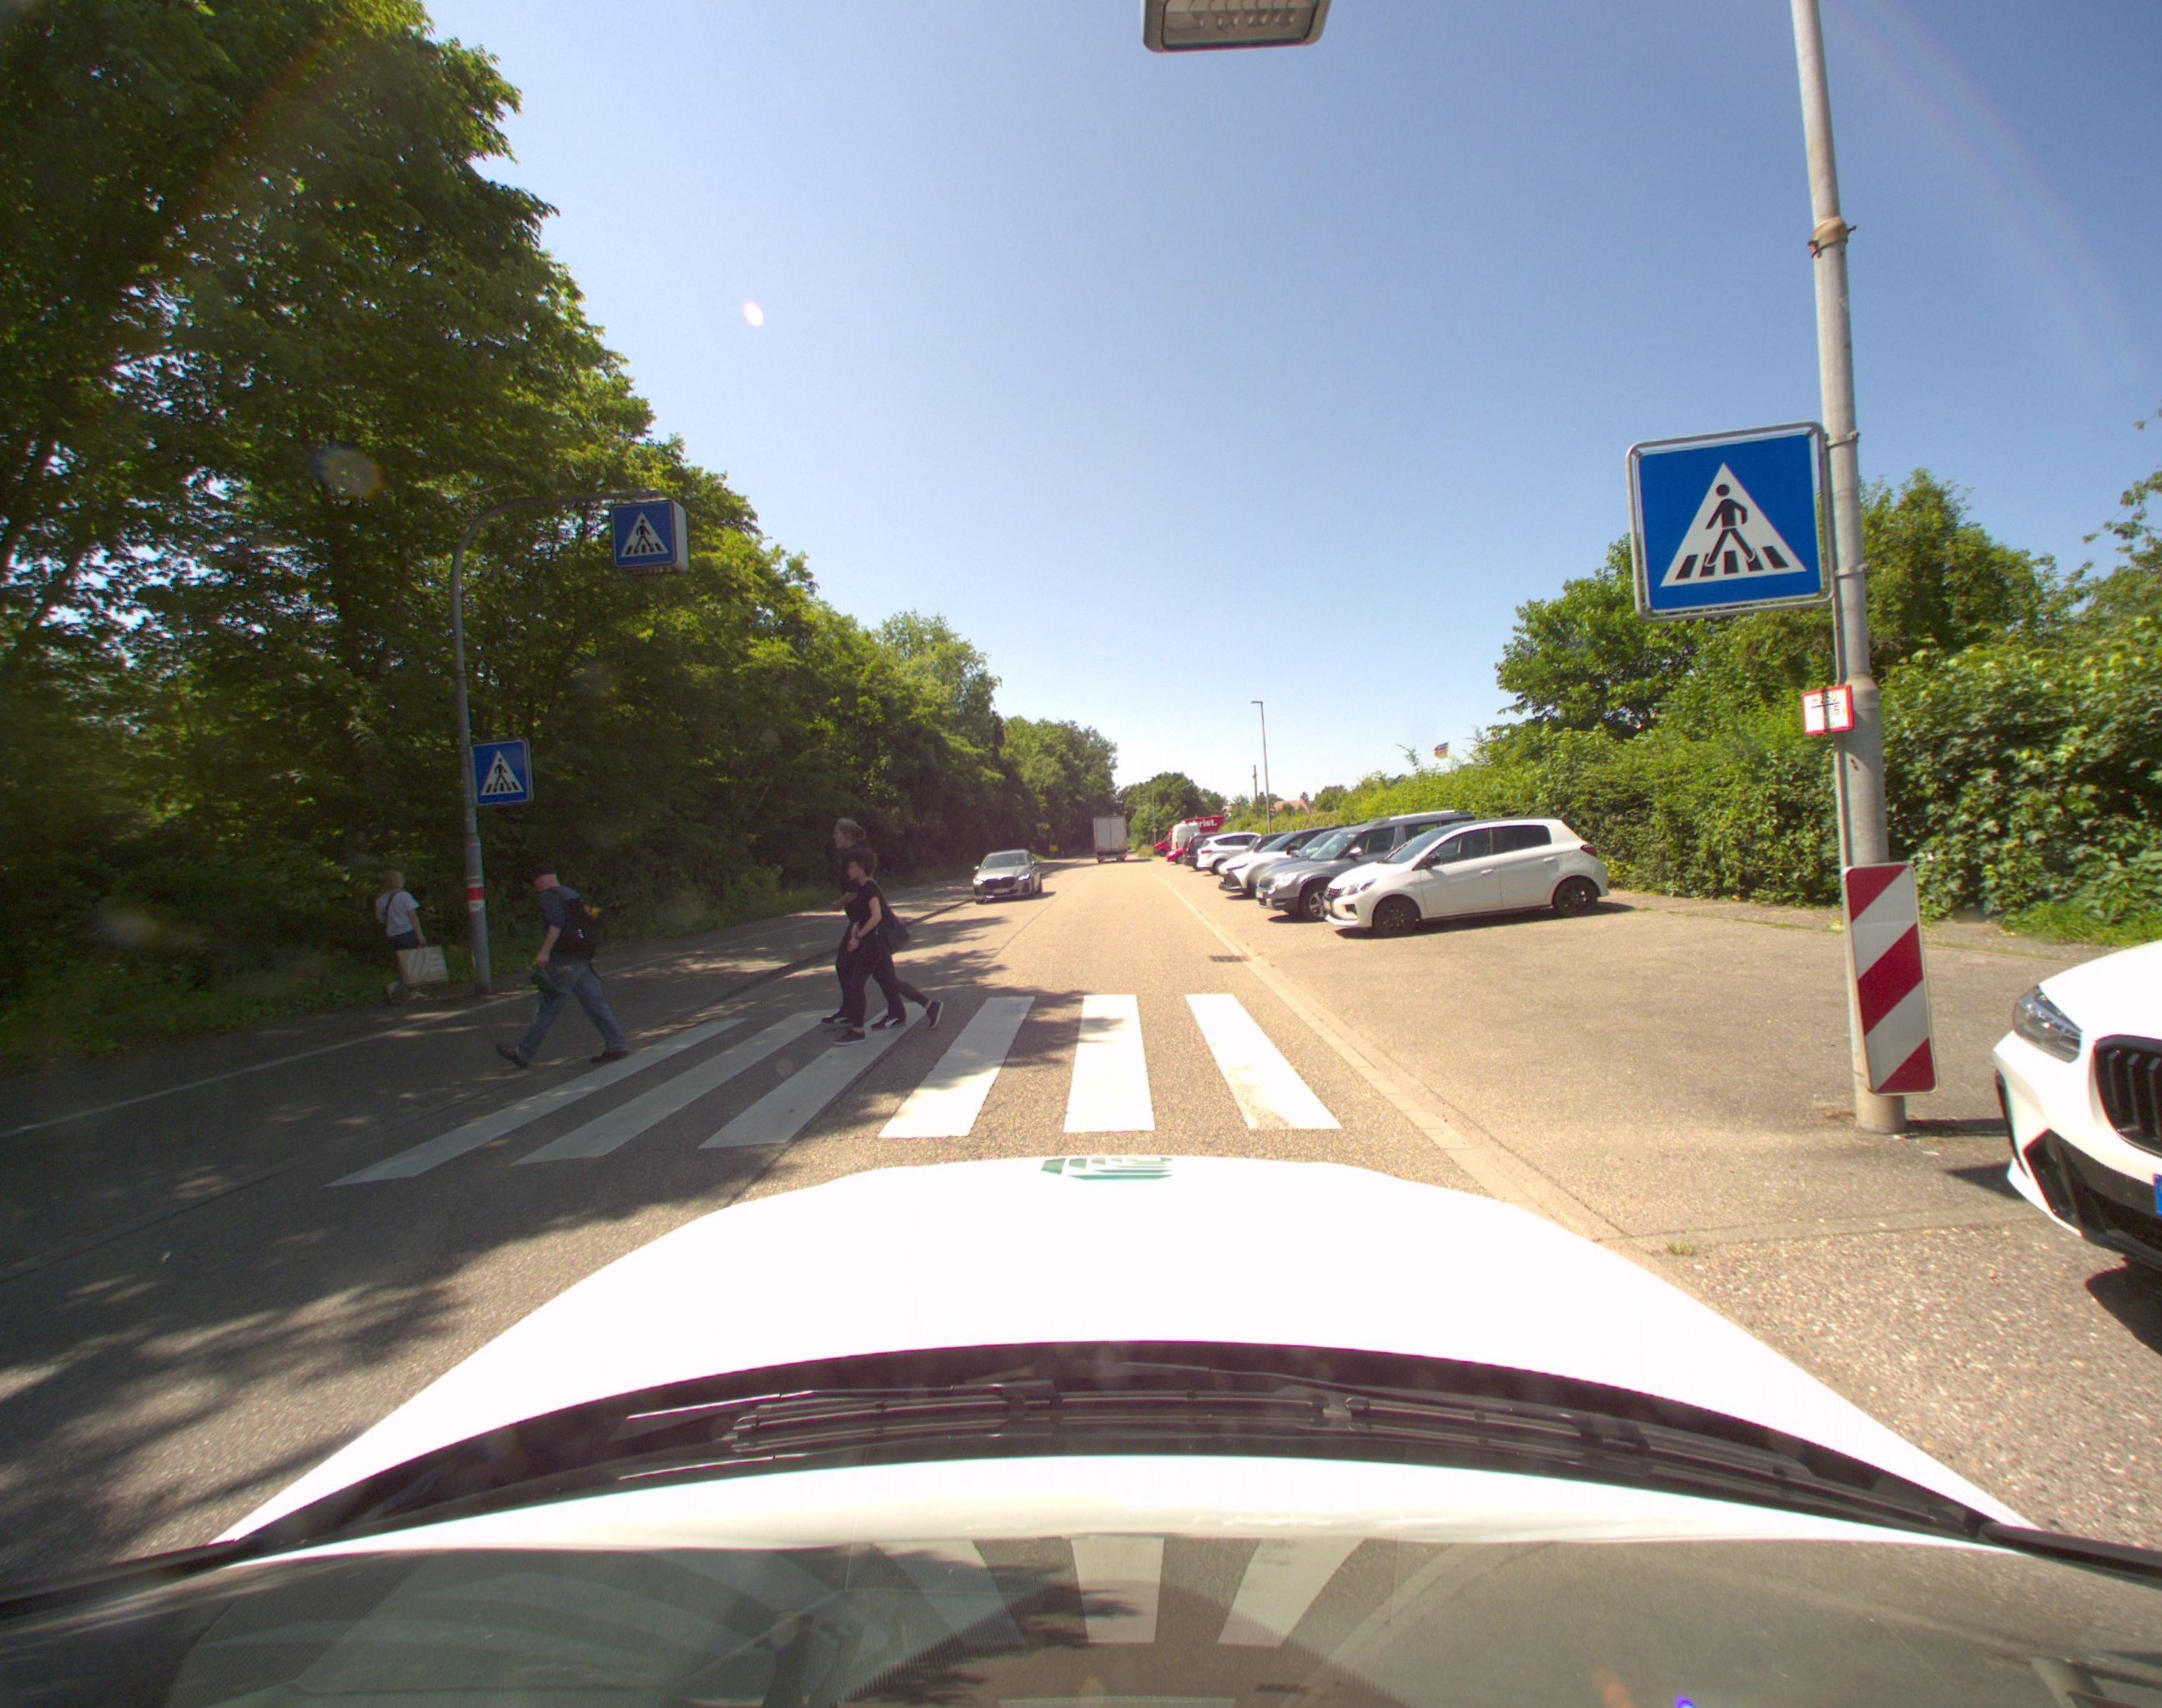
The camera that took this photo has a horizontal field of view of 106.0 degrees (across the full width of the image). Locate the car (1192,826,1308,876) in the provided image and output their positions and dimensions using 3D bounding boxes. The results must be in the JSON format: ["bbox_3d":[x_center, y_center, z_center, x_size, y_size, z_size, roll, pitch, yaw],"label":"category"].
[{"bbox_3d":[6.829,-0.129,33.159,4.262,1.578,1.765,-6,1,0],"label":"car"}]

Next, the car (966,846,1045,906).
[{"bbox_3d":[-2.326,0.633,26.262,1.884,1.532,4.198,-7,0,1],"label":"car"}]

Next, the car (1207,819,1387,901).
[{"bbox_3d":[5.410,0.136,20.741,3.955,1.522,1.862,-7,1,-4],"label":"car"}]

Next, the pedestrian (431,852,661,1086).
[{"bbox_3d":[-4.468,0.903,6.915,1.152,1.751,1.023,-4,0,-2],"label":"pedestrian"}]

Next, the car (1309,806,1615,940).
[{"bbox_3d":[5.462,0.254,12.064,3.671,1.450,1.613,-7,1,6],"label":"car"}]

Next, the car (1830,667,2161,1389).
[{"bbox_3d":[4.744,0.240,1.720,4.436,1.729,1.852,-5,0,2],"label":"car"}]

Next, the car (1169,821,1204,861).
[{"bbox_3d":[8.067,-1.034,62.758,1.946,2.733,7.175,-5,1,4],"label":"car"}]

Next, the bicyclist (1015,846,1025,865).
[{"bbox_3d":[-5.088,0.135,67.765,0.645,1.565,0.838,-3,0,6],"label":"bicyclist"}]

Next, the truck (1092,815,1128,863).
[{"bbox_3d":[2.683,-1.253,72.090,2.722,3.745,13.258,-2,0,3],"label":"truck"}]

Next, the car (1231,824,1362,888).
[{"bbox_3d":[6.207,0.044,23.716,3.371,1.503,1.590,-5,1,5],"label":"car"}]

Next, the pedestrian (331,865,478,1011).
[{"bbox_3d":[-8.096,0.969,9.791,0.929,1.612,0.886,-3,1,1],"label":"pedestrian"}]

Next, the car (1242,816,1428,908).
[{"bbox_3d":[5.498,0.151,17.867,3.445,1.527,1.538,-7,1,-3],"label":"car"}]

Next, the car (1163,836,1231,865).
[{"bbox_3d":[7.395,-0.238,52.236,4.042,1.434,1.835,-6,1,-1],"label":"car"}]

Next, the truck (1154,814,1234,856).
[{"bbox_3d":[10.692,-1.784,76.770,7.087,3.439,2.339,-3,1,13],"label":"truck"}]

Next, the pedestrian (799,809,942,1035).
[{"bbox_3d":[-1.878,0.581,7.409,1.083,1.864,0.781,-4,-1,-11],"label":"pedestrian"}]

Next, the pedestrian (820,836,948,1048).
[{"bbox_3d":[-1.628,0.691,6.848,0.894,1.611,0.778,-4,-1,-11],"label":"pedestrian"}]

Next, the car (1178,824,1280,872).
[{"bbox_3d":[7.086,-0.284,39.369,4.441,1.804,1.951,-6,0,-2],"label":"car"}]

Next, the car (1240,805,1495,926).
[{"bbox_3d":[5.150,0.186,14.944,3.952,1.640,1.662,-7,1,-3],"label":"car"}]
